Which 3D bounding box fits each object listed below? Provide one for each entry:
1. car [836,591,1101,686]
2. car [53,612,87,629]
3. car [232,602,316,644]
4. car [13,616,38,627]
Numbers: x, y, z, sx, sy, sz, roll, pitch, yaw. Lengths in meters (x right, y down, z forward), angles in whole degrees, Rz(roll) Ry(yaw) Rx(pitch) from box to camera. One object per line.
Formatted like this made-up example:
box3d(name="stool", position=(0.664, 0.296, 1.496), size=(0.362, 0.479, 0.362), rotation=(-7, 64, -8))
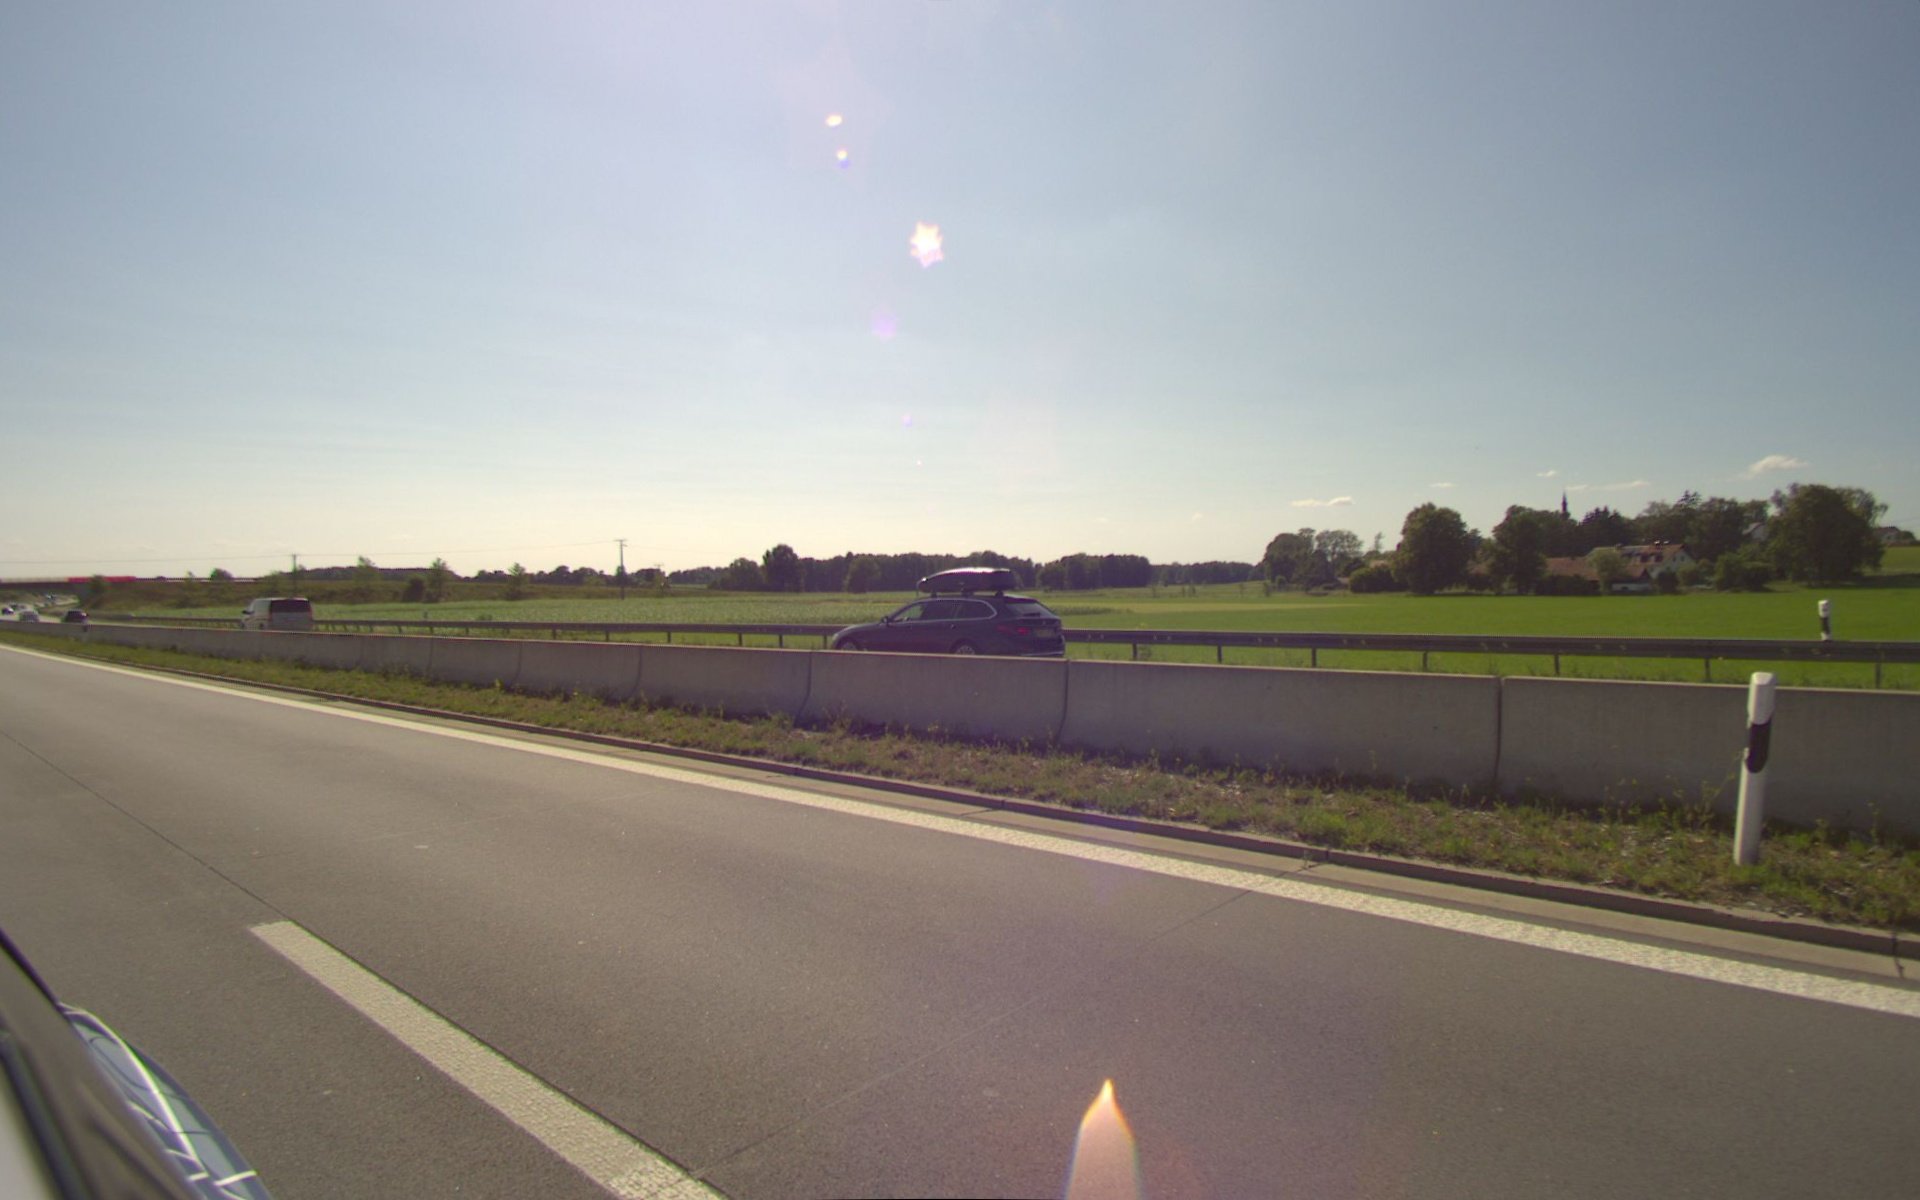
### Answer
box3d(name="car", position=(0.036, 0.661, 18.536), size=(4.803, 1.535, 1.878), rotation=(-1, -1, 41))
box3d(name="car", position=(-85.965, 1.993, 97.694), size=(4.912, 1.597, 1.839), rotation=(-1, -1, 41))
box3d(name="car", position=(-32.209, 1.084, 47.437), size=(5.446, 1.856, 1.934), rotation=(-1, -1, 41))
box3d(name="car", position=(-116.744, 2.727, 126.457), size=(5.294, 1.375, 1.803), rotation=(-1, -1, 42))
